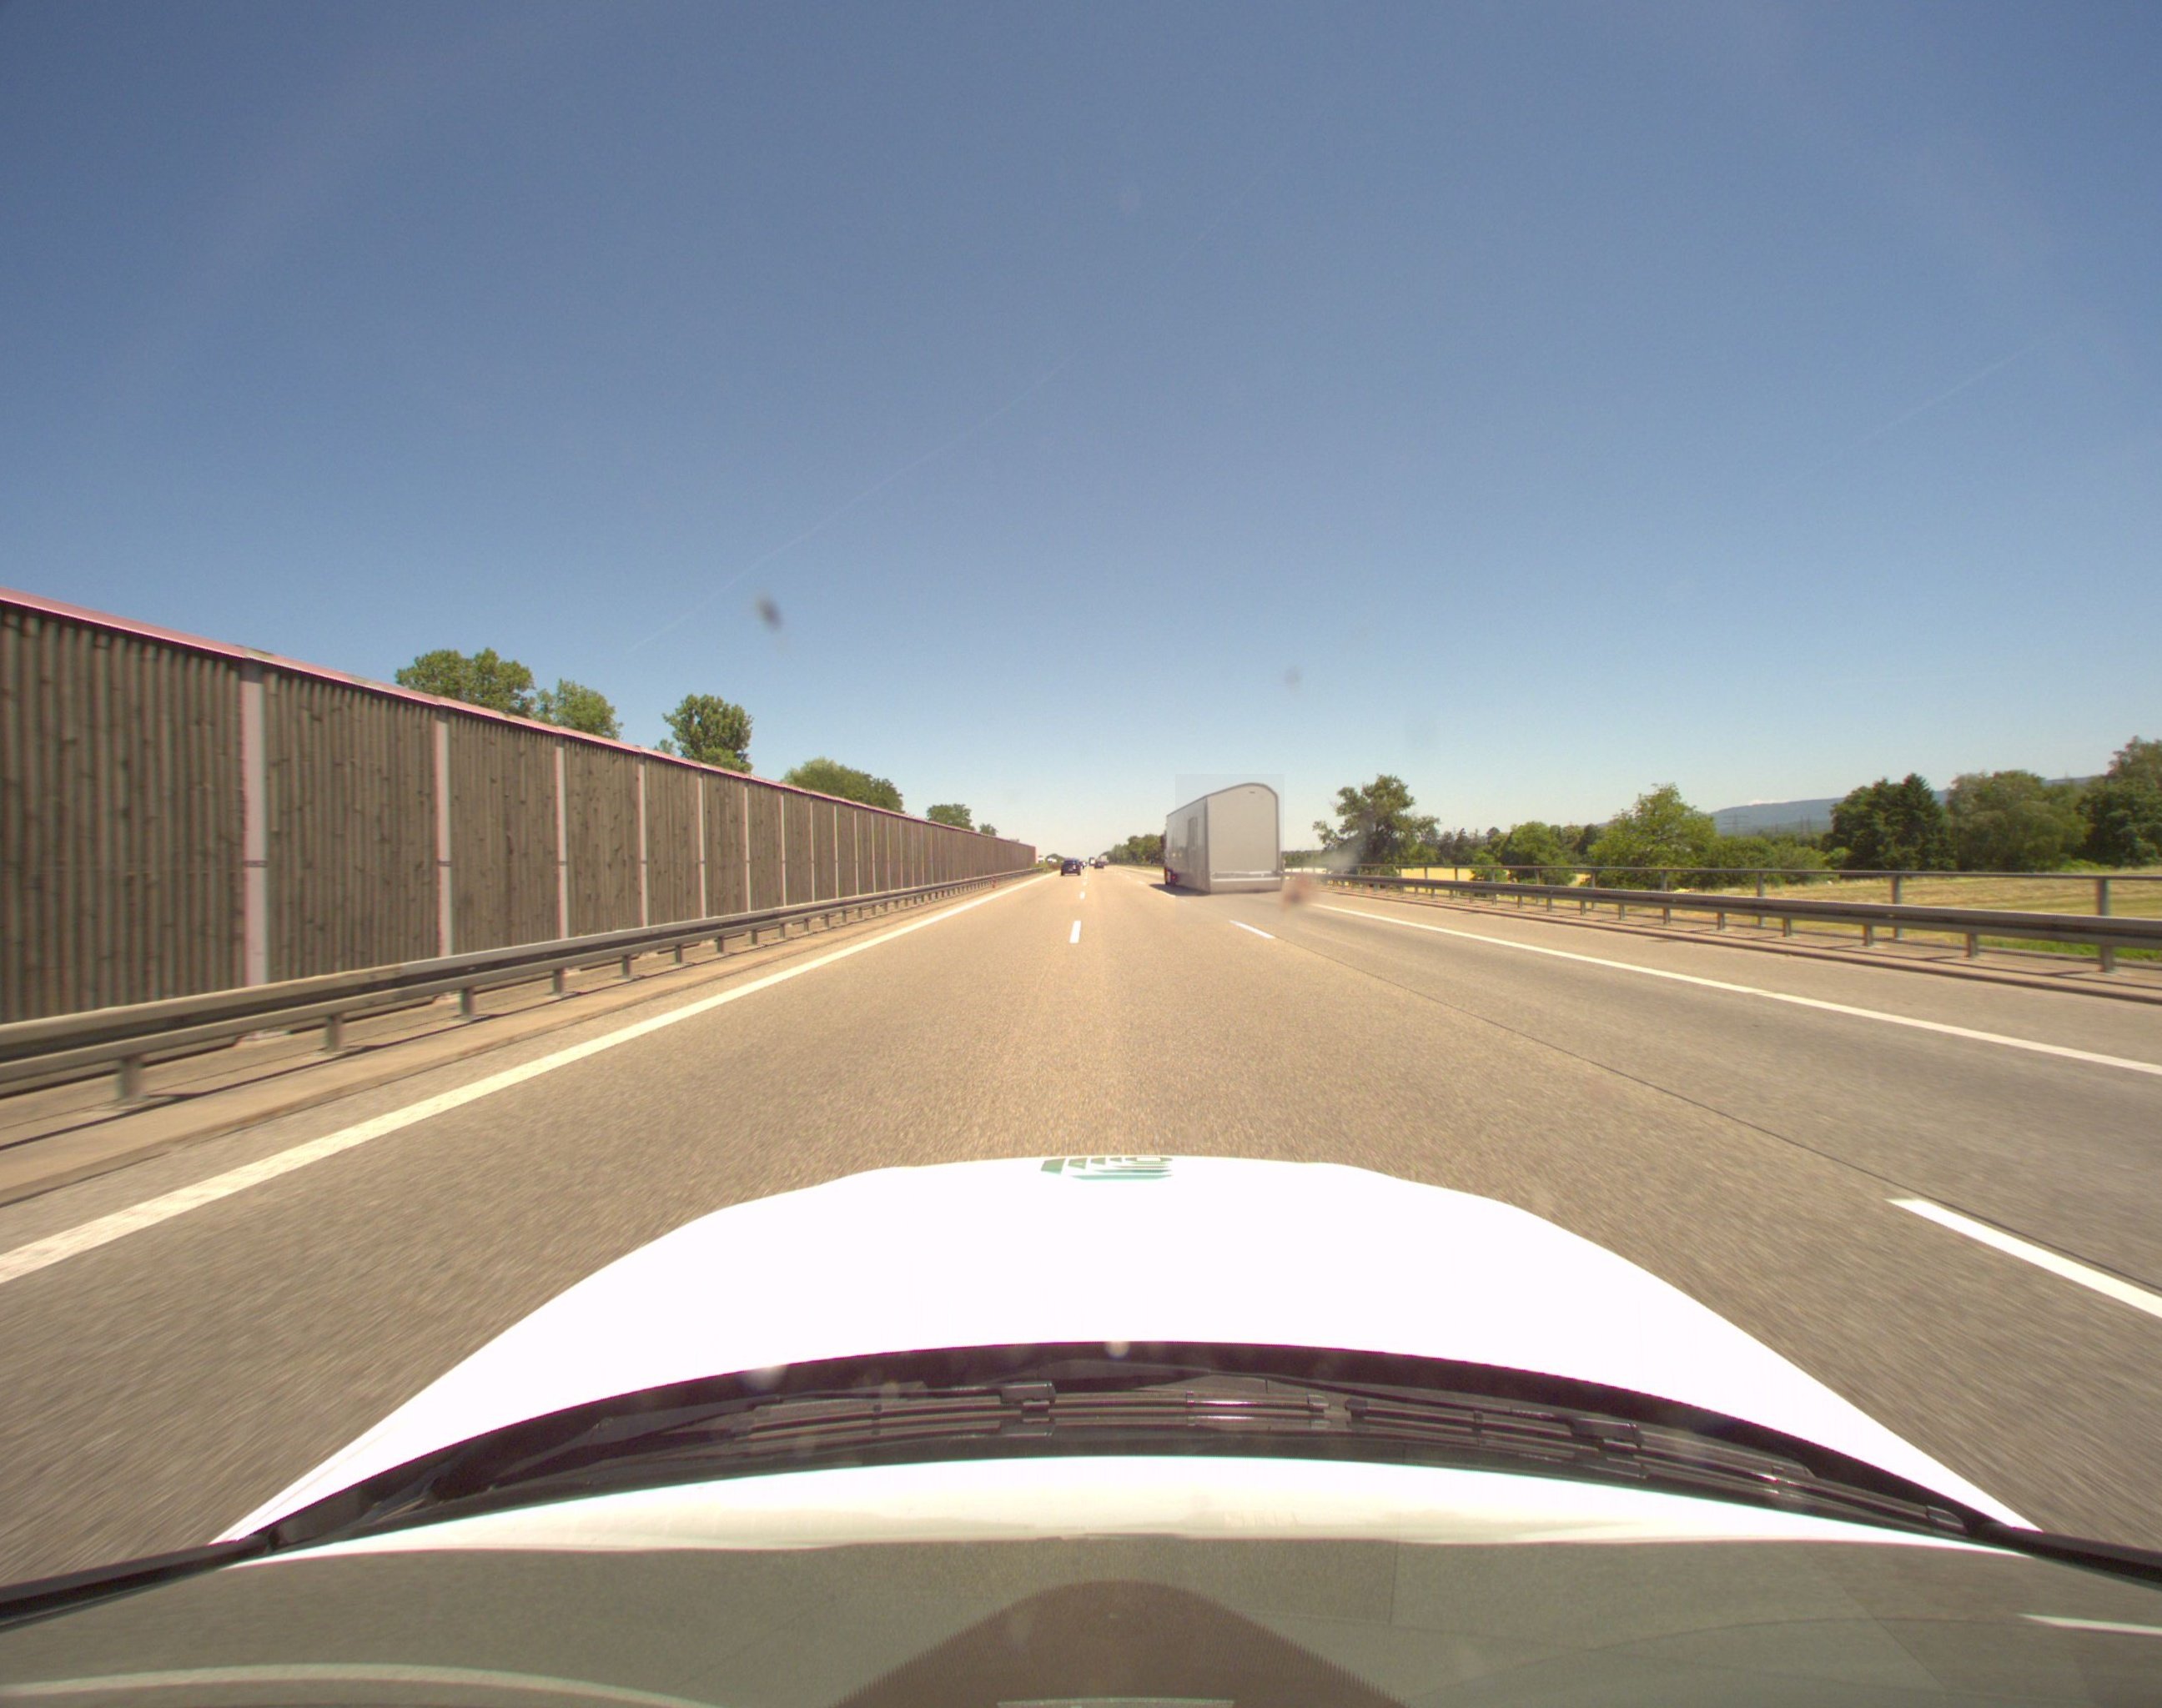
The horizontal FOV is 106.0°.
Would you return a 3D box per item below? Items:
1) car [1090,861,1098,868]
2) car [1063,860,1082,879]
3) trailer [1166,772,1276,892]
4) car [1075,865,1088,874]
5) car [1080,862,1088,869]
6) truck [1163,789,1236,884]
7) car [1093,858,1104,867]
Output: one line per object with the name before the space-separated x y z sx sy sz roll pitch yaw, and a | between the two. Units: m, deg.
car | 3.027 2.408 193.804 1.896 1.584 4.304 -2 -1 1
car | -0.870 1.524 82.838 1.874 1.792 3.999 -1 0 -1
trailer | 6.382 -0.876 39.869 3.258 4.837 14.031 -1 0 1
car | 0.130 2.809 149.933 2.121 1.645 4.304 -2 -1 1
car | 0.822 2.984 215.319 2.121 1.645 4.304 -2 -1 1
truck | 6.496 -0.896 45.815 3.223 4.889 6.973 -1 0 1
car | 3.165 1.565 145.244 1.896 1.584 4.304 -2 -1 1
